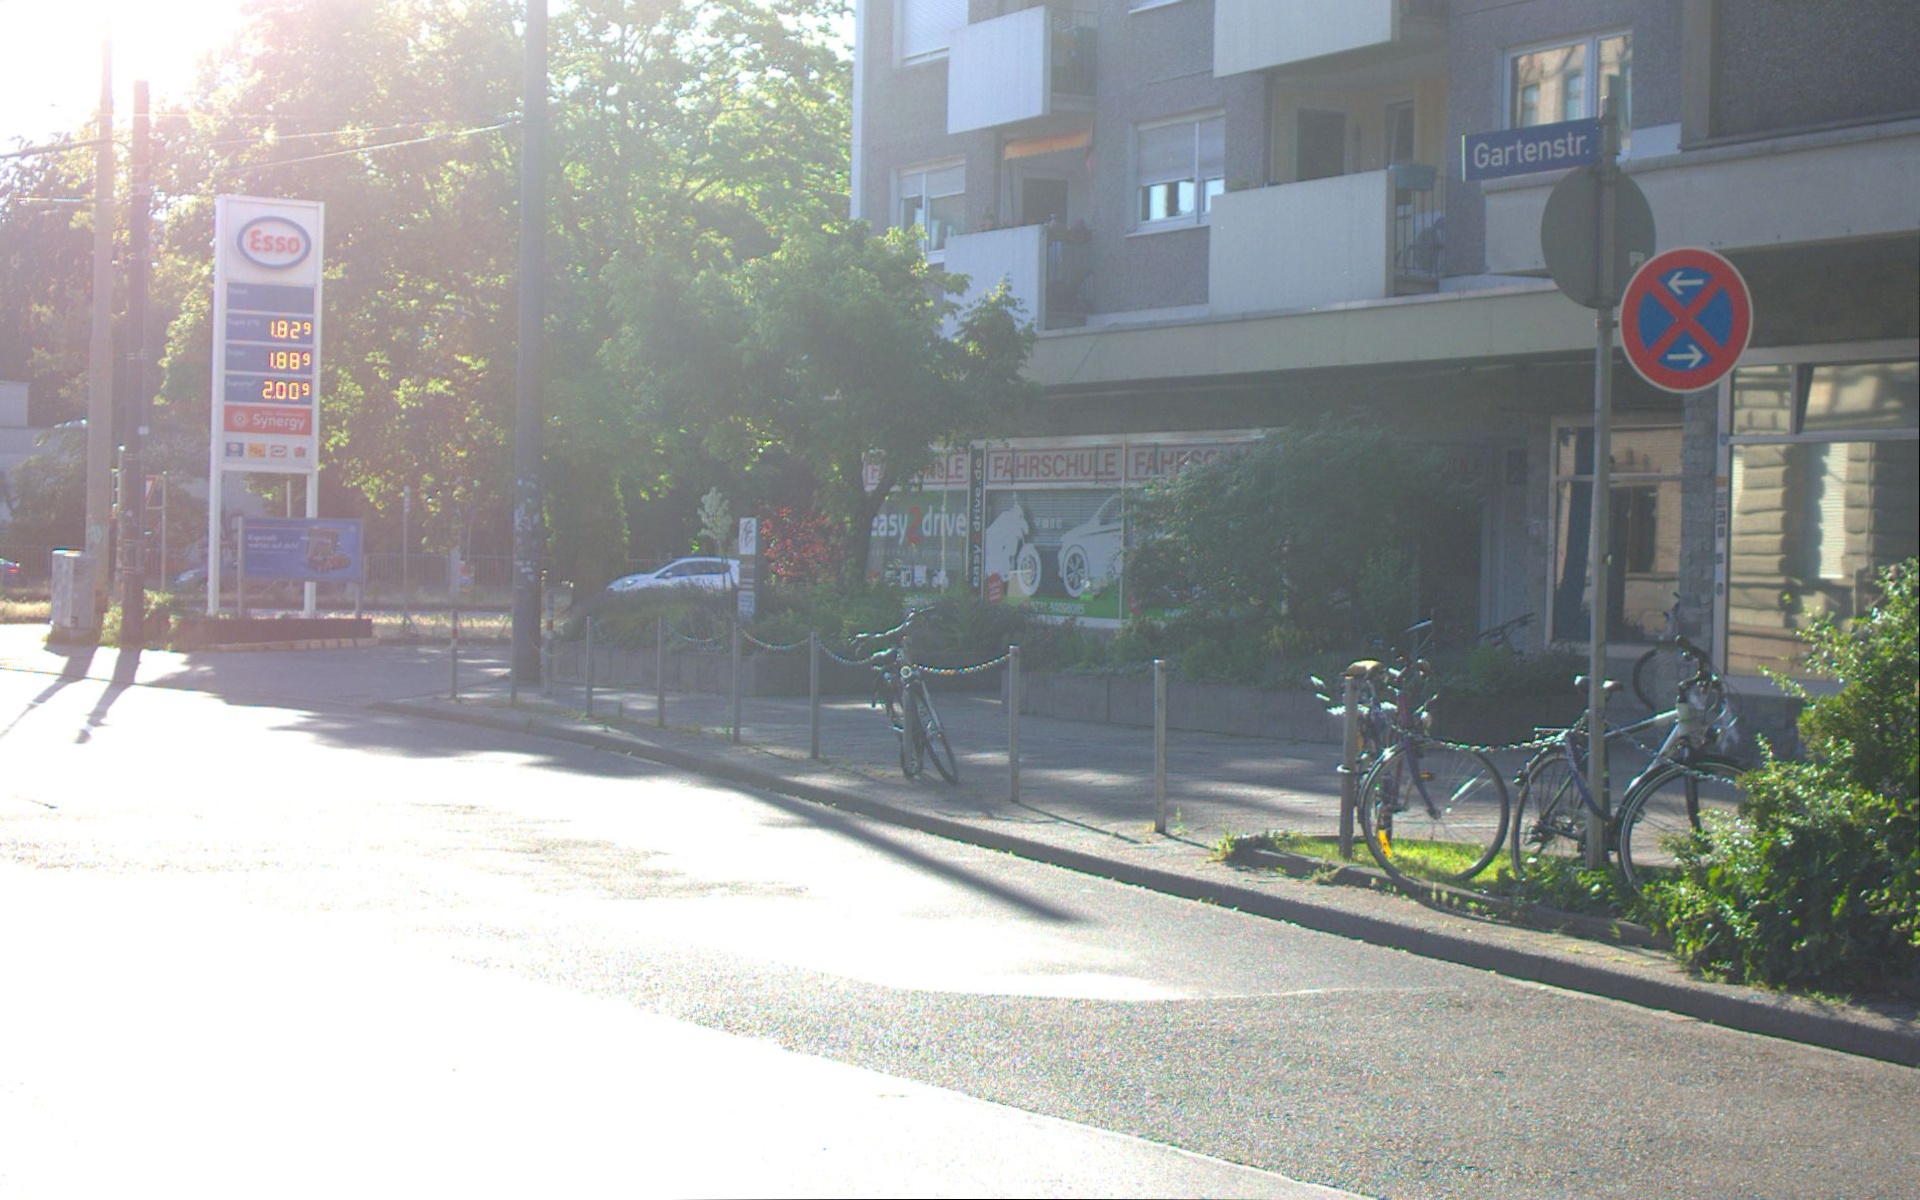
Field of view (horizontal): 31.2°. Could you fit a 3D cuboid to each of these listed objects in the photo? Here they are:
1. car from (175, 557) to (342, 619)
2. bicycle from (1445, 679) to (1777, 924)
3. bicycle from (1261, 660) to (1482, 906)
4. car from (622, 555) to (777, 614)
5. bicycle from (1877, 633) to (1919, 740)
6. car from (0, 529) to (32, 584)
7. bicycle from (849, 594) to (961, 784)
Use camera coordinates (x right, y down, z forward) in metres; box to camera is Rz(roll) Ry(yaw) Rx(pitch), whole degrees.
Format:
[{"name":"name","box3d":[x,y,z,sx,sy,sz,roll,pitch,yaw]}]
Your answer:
[{"name":"car","box3d":[-17.486,-0.310,85.839,3.986,1.448,1.810,1,0,-10]},{"name":"bicycle","box3d":[2.714,0.820,14.519,0.542,0.901,1.736,1,1,-20]},{"name":"bicycle","box3d":[1.913,0.831,16.253,0.638,1.019,2.088,1,1,-4]},{"name":"car","box3d":[-7.050,-0.430,92.933,3.986,1.502,1.673,1,0,-11]},{"name":"bicycle","box3d":[8.607,0.751,29.143,0.642,0.896,1.652,1,1,-29]},{"name":"car","box3d":[-27.424,-1.198,92.495,4.475,1.482,1.781,1,1,-5]},{"name":"bicycle","box3d":[-0.394,0.584,23.686,0.638,1.222,2.088,1,1,-4]}]
